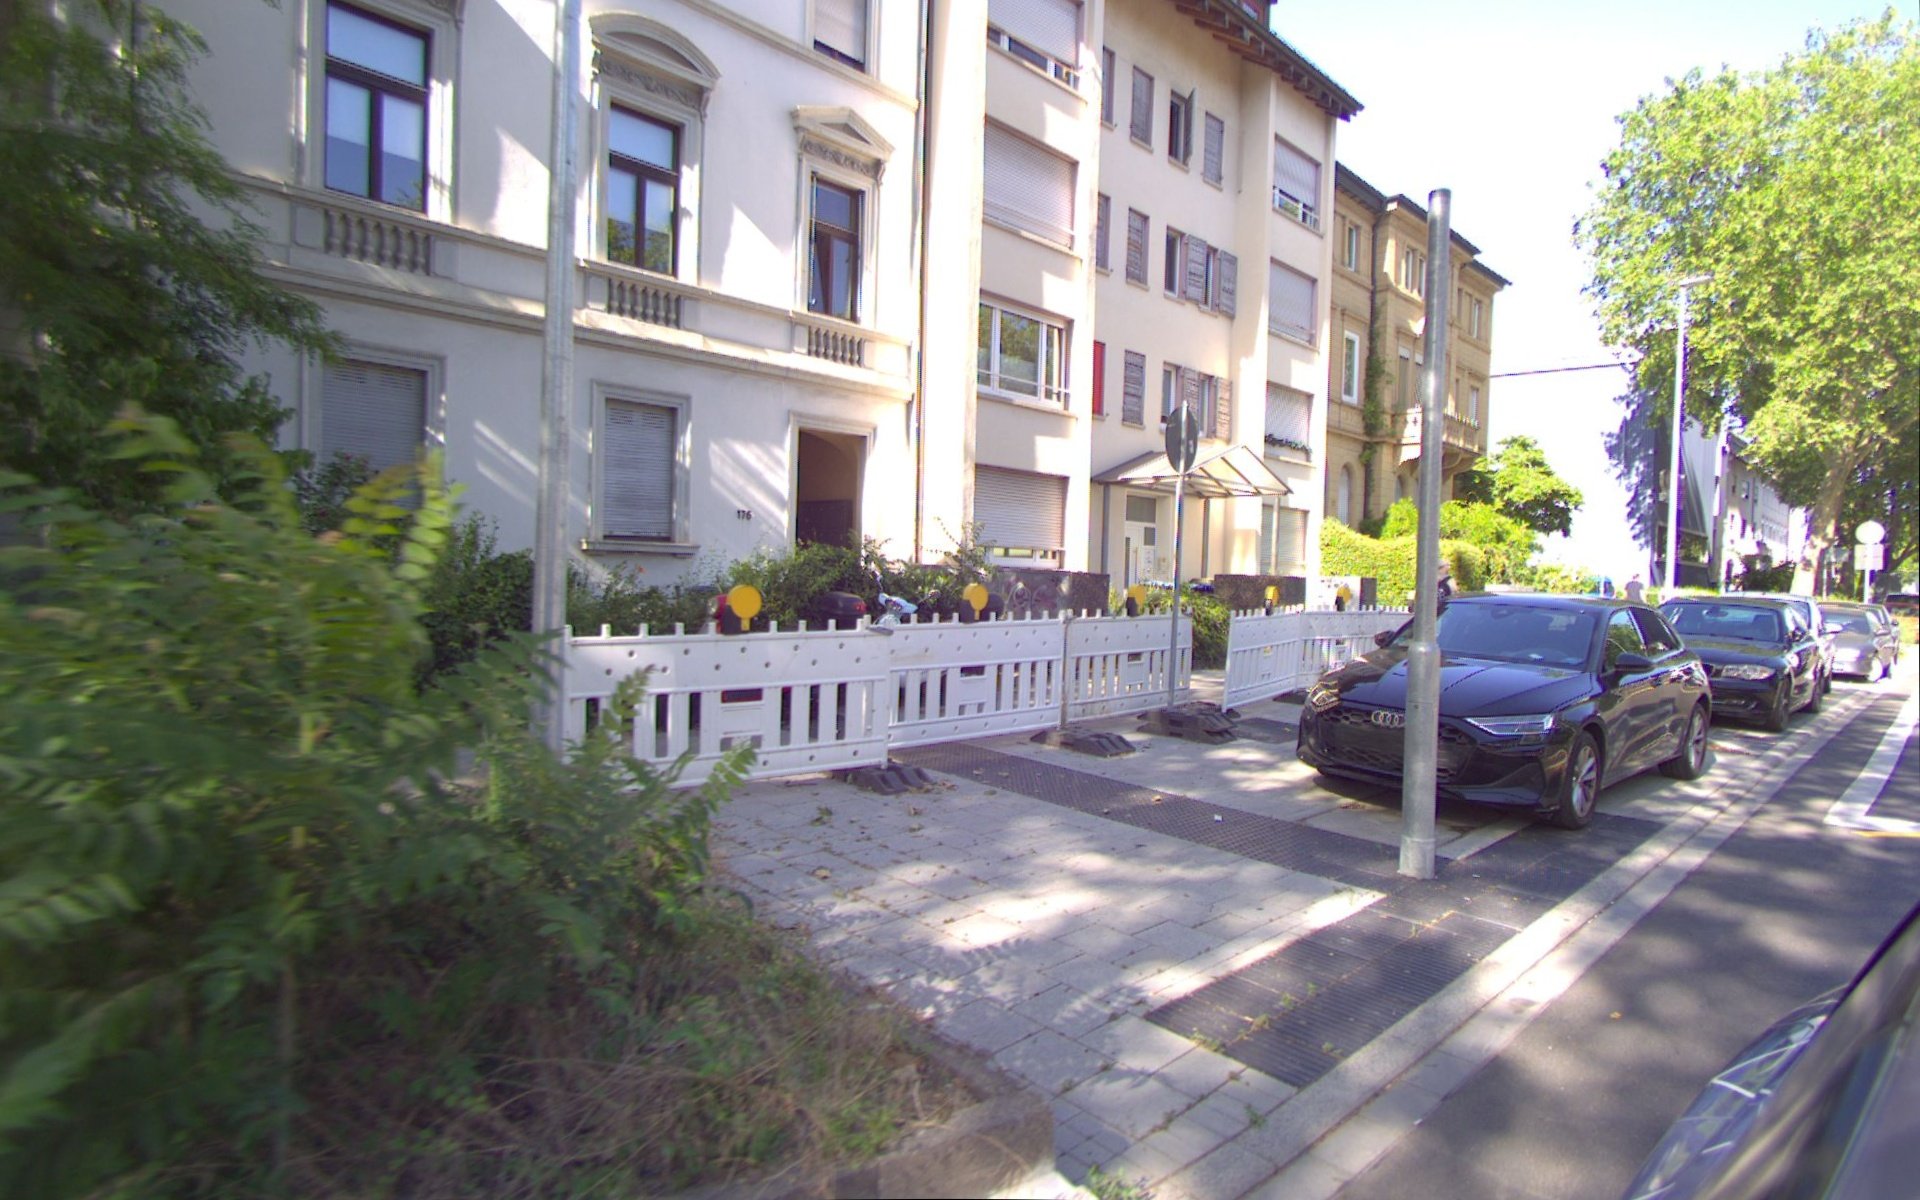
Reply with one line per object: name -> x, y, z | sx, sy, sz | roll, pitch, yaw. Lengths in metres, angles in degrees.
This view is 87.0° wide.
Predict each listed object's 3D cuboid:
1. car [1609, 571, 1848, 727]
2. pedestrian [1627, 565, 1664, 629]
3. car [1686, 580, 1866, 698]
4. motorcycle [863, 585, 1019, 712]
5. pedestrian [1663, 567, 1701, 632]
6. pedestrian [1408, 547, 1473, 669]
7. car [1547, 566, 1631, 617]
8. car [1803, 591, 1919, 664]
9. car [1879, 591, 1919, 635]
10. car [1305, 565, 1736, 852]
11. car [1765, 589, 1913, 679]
car -> 9.320, 0.474, 12.152 | 3.989, 1.504, 1.622 | 0, 4, -44
pedestrian -> 20.080, -0.089, 29.643 | 0.788, 1.818, 0.698 | 0, 2, -44
car -> 12.510, 0.511, 15.452 | 3.672, 1.504, 1.622 | 0, 4, -44
motorcycle -> -0.178, 0.459, 10.339 | 1.526, 1.201, 0.598 | 0, 1, -37
pedestrian -> 20.643, -0.019, 28.934 | 0.703, 1.818, 0.698 | 0, 2, -44
pedestrian -> 7.633, 0.111, 16.065 | 0.682, 1.872, 0.665 | 0, 2, -43
car -> 24.833, -0.379, 40.108 | 1.775, 1.844, 3.980 | 2, 2, 17
car -> 21.524, 0.588, 24.046 | 4.402, 1.429, 1.719 | 0, 5, -44
car -> 36.028, 0.480, 38.219 | 3.931, 1.536, 1.672 | 0, 3, -44
car -> 4.319, 0.570, 7.500 | 4.029, 1.504, 1.622 | 0, 4, -44
car -> 16.817, 0.567, 19.302 | 3.981, 1.430, 1.719 | 0, 4, -44
